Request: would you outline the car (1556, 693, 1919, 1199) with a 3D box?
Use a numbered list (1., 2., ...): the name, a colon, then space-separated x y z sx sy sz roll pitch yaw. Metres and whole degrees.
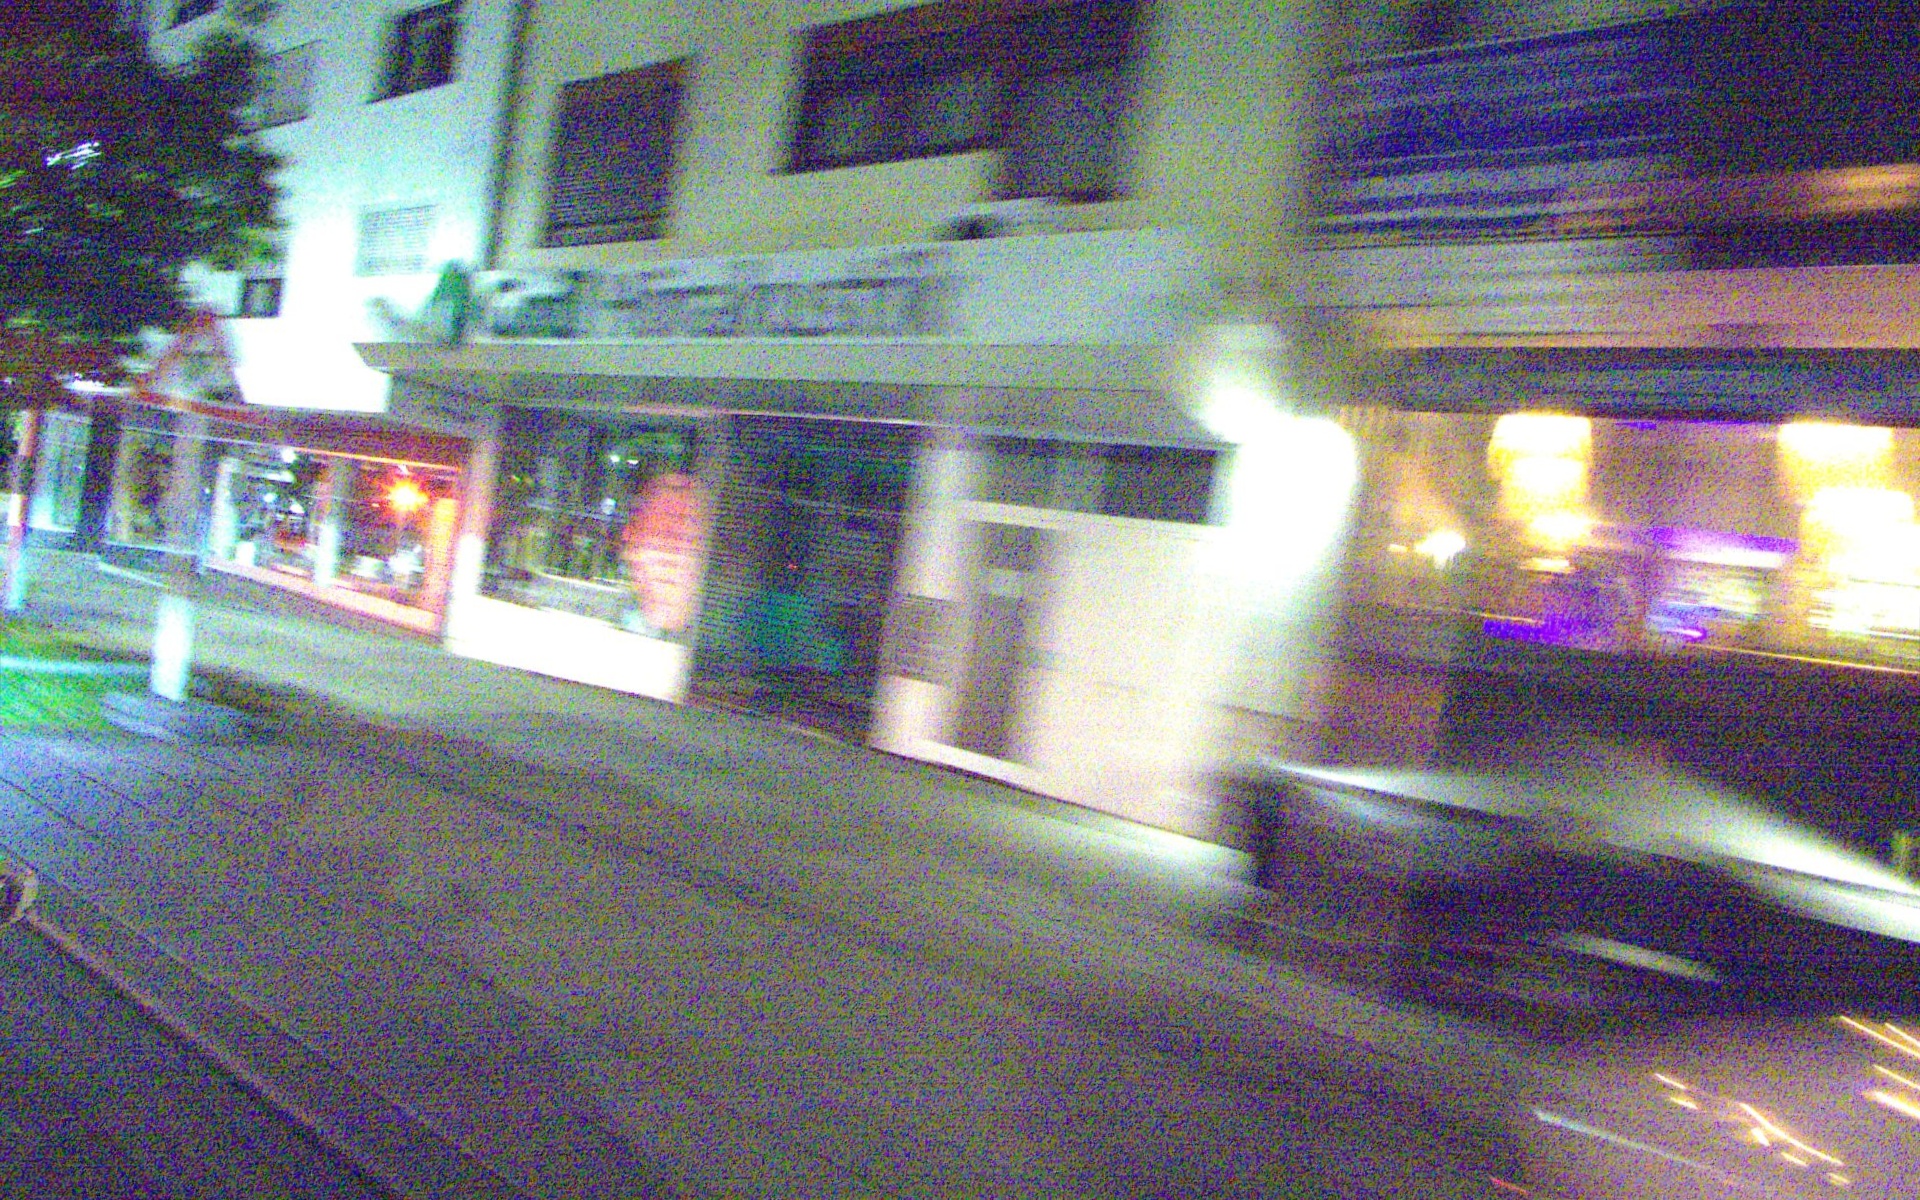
1. car: 3.137 1.154 0.705 4.516 1.460 1.859 7 1 30
